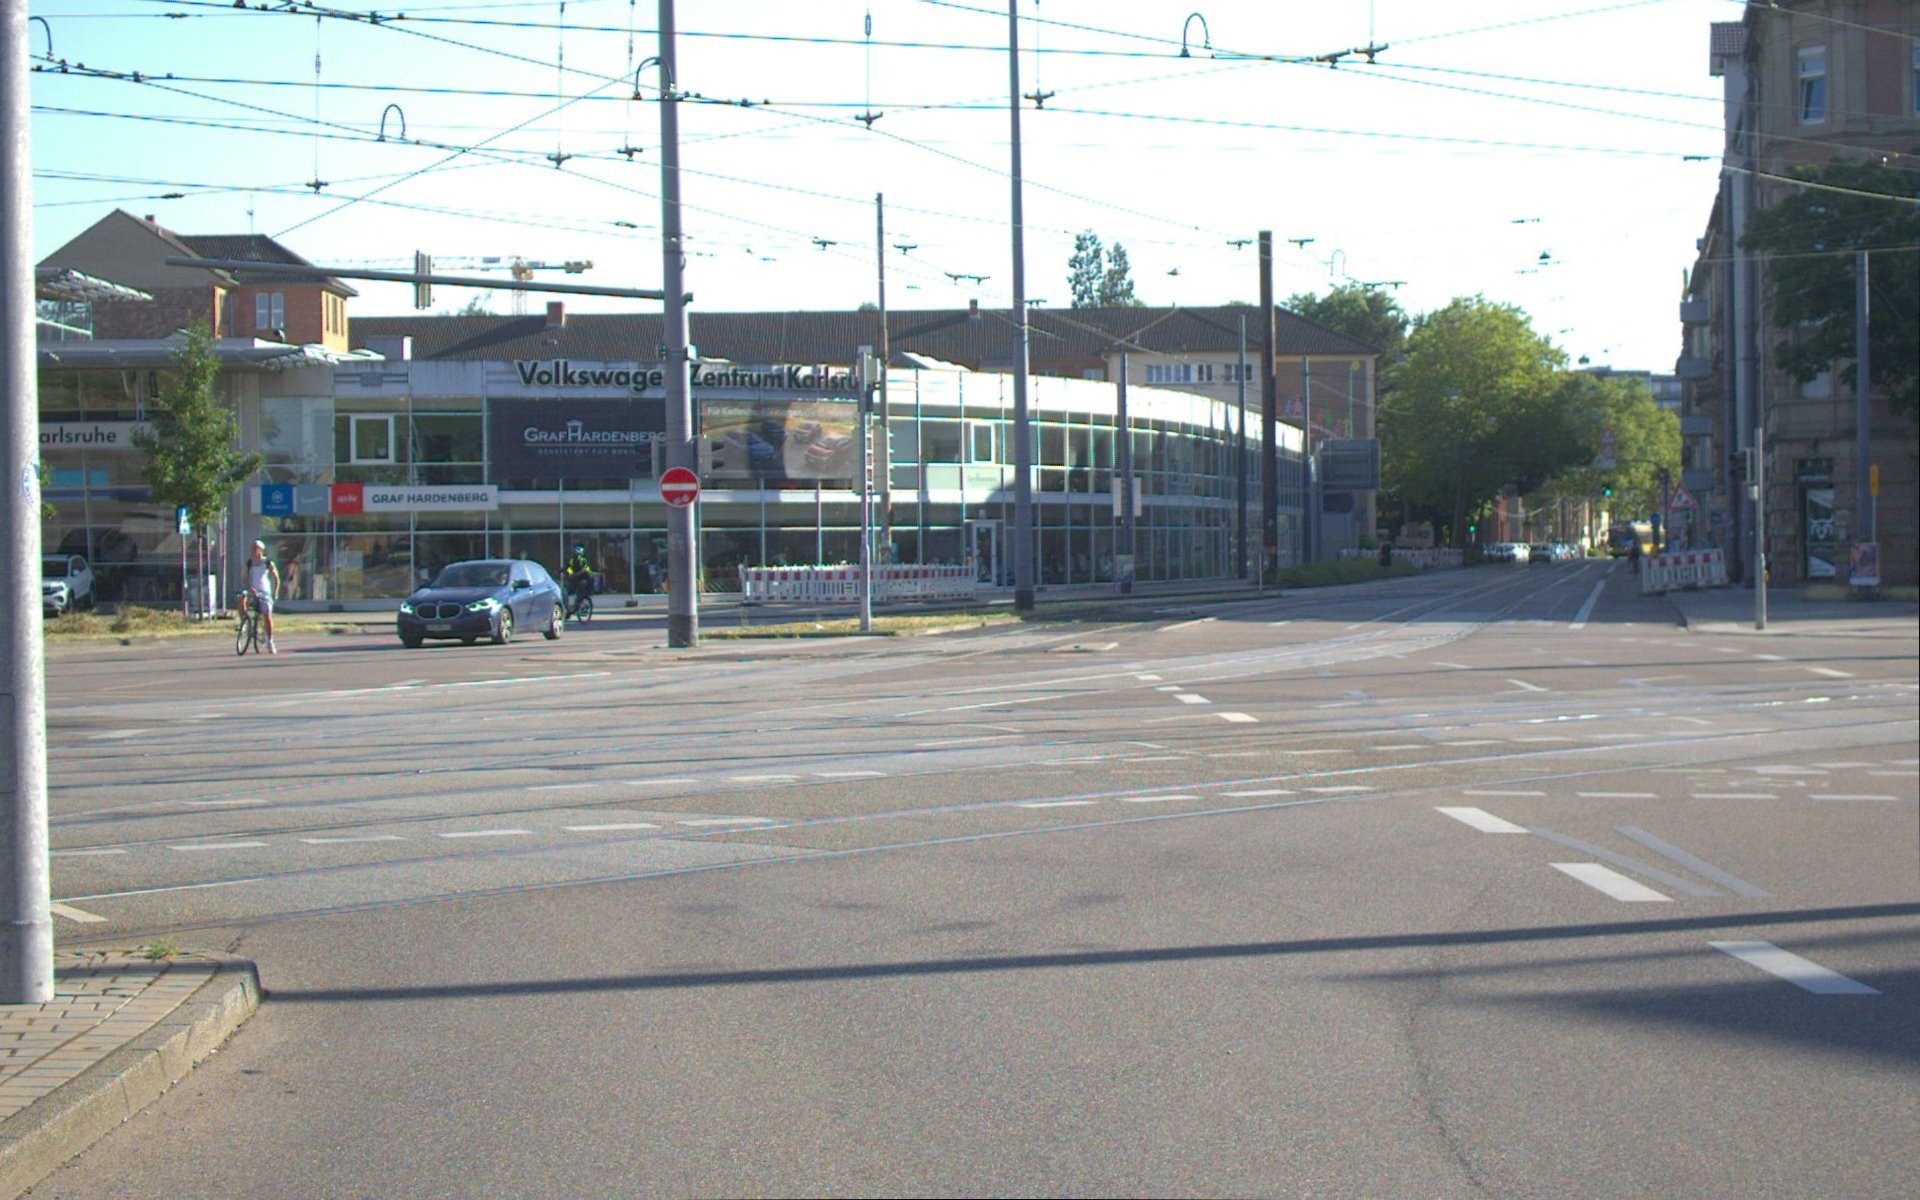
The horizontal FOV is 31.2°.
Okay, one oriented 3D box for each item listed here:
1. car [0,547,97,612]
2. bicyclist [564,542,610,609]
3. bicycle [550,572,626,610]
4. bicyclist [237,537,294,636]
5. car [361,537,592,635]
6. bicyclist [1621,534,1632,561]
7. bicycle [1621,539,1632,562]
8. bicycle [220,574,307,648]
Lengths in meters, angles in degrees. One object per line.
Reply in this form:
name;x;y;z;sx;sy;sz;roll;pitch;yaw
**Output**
car;-25.375;-0.574;95.757;1.993;1.744;4.001;1;0;-5
bicyclist;-8.842;-0.582;81.471;0.655;1.567;0.921;1;0;27
bicycle;-8.812;-0.212;81.541;0.639;0.867;2.232;1;0;28
bicyclist;-11.445;-0.228;56.663;0.598;1.610;0.822;1;0;16
car;-8.152;-0.225;58.291;1.996;1.579;3.994;1;0;25
bicyclist;27.640;-2.159;142.512;0.408;1.112;0.399;1;0;9
bicycle;27.633;-2.058;142.529;0.410;0.938;1.844;1;0;11
bicycle;-11.458;0.176;56.618;0.613;1.185;1.868;1;0;16
